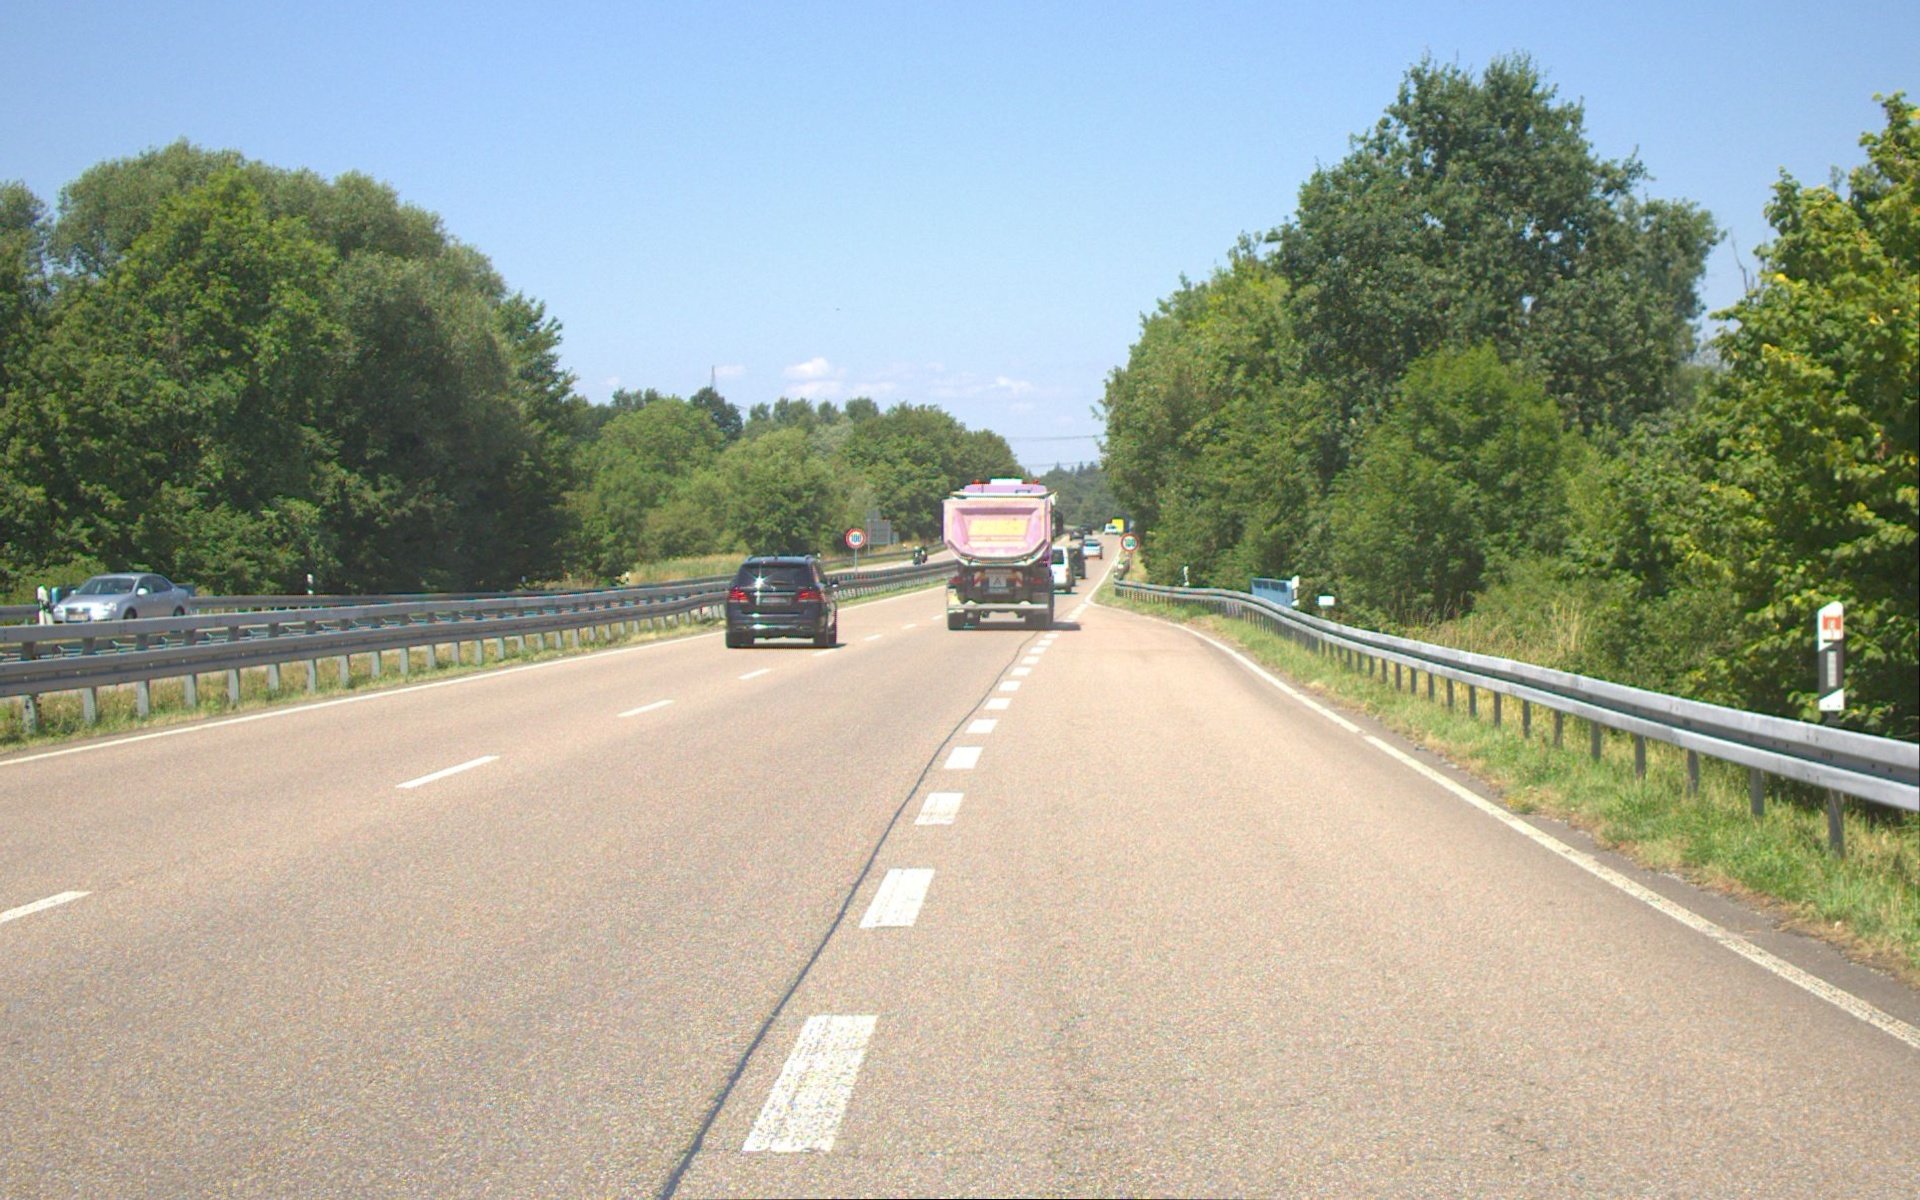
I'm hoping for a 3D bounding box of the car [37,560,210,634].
[{"bbox_3d":[-19.417,-0.086,79.981,1.725,1.639,4.939,1,1,15],"label":"car"}]

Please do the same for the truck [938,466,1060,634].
[{"bbox_3d":[1.101,-1.334,86.590,2.720,3.916,12.370,0,1,2],"label":"truck"}]

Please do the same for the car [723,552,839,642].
[{"bbox_3d":[-3.408,-0.048,66.042,1.857,1.665,4.000,0,0,2],"label":"car"}]

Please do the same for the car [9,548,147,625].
[{"bbox_3d":[-17.567,-0.255,68.598,1.918,1.484,4.000,0,0,-3],"label":"car"}]

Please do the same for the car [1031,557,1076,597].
[{"bbox_3d":[3.943,-0.965,144.866,1.857,1.665,4.000,0,0,2],"label":"car"}]
